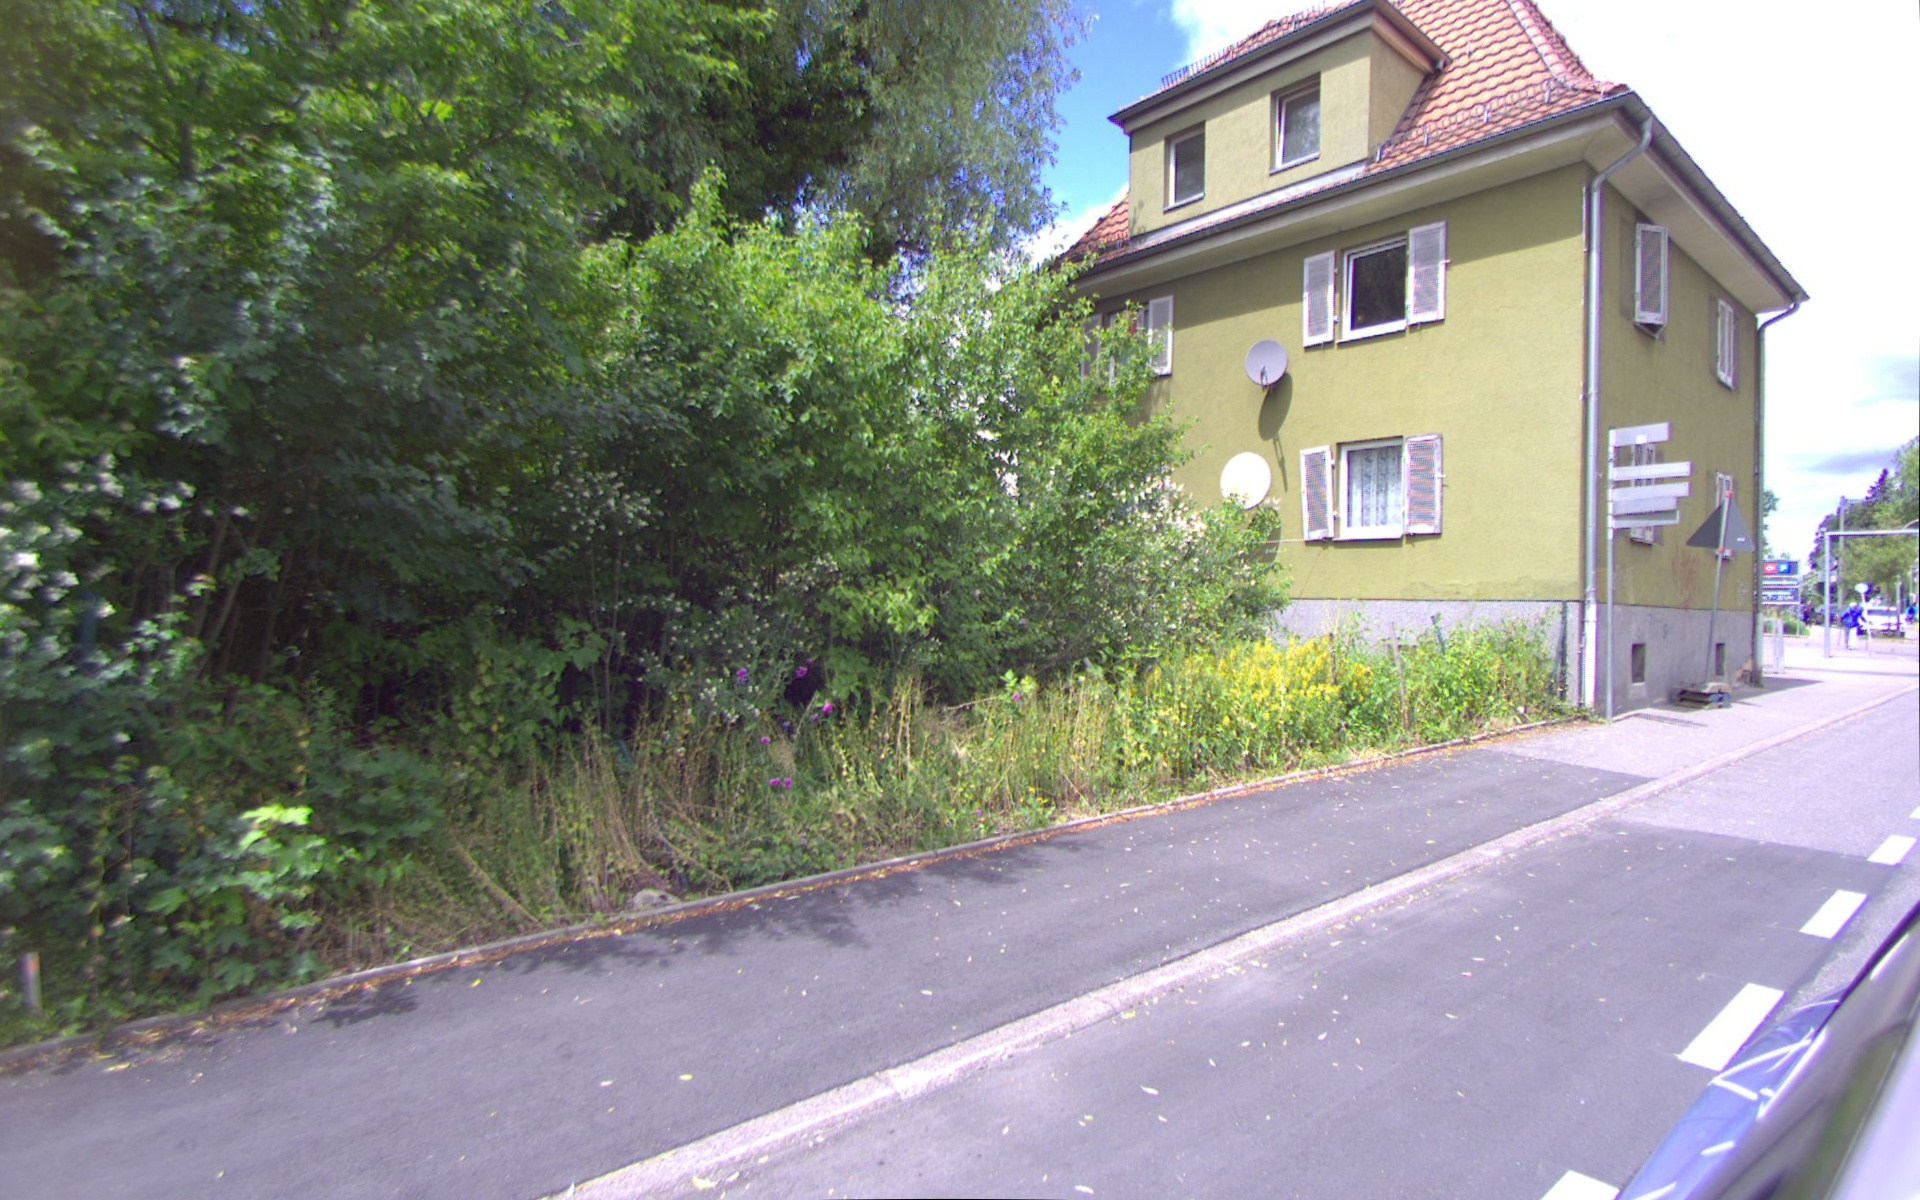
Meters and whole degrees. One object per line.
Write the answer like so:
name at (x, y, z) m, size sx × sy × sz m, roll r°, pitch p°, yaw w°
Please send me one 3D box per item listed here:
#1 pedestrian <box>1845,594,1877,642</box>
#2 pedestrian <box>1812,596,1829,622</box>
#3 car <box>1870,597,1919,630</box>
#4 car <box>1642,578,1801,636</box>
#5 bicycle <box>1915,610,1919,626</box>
pedestrian at (29.938, 0.595, 33.622) m, size 0.726 × 1.572 × 1.042 m, roll 1°, pitch 0°, yaw 39°
pedestrian at (56.533, 0.615, 66.480) m, size 0.765 × 1.683 × 0.721 m, roll 1°, pitch -3°, yaw -45°
car at (47.588, 0.664, 51.264) m, size 3.931 × 1.529 × 1.797 m, roll 0°, pitch 2°, yaw -42°
car at (28.570, 0.203, 38.098) m, size 1.961 × 2.019 × 4.374 m, roll 0°, pitch 1°, yaw -32°
bicycle at (69.633, 1.300, 72.712) m, size 0.803 × 1.122 × 1.789 m, roll -1°, pitch -1°, yaw 19°
